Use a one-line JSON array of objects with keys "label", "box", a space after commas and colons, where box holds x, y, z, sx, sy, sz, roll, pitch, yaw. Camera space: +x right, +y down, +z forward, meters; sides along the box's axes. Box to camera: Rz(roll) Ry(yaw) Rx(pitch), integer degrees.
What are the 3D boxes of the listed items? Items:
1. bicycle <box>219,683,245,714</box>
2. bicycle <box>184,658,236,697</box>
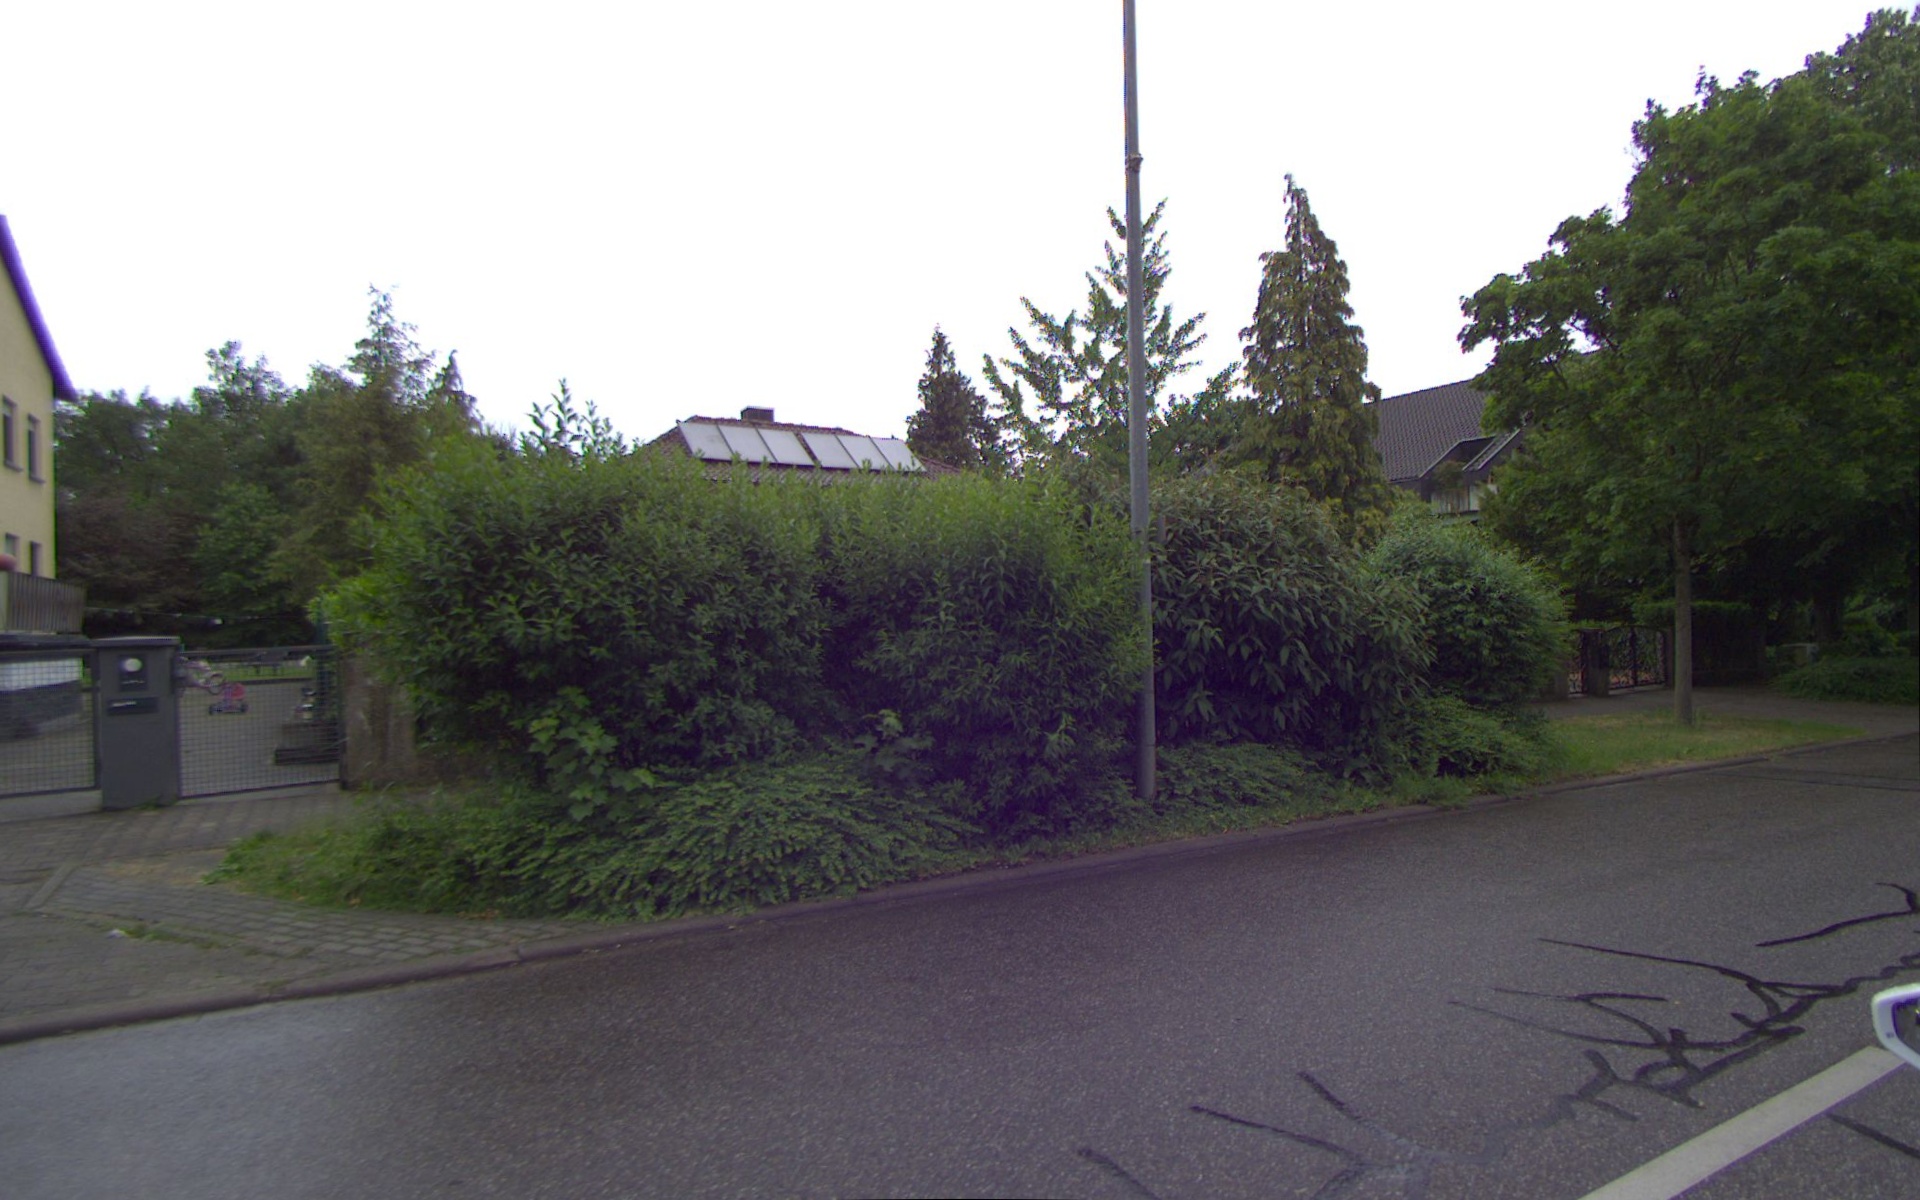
[{"label": "bicycle", "box": [-13.398, 1.808, 18.486, 0.291, 0.524, 0.803, 1, -2, -30]}, {"label": "bicycle", "box": [-18.408, 1.893, 24.660, 0.359, 0.882, 0.981, -1, -2, 19]}]
